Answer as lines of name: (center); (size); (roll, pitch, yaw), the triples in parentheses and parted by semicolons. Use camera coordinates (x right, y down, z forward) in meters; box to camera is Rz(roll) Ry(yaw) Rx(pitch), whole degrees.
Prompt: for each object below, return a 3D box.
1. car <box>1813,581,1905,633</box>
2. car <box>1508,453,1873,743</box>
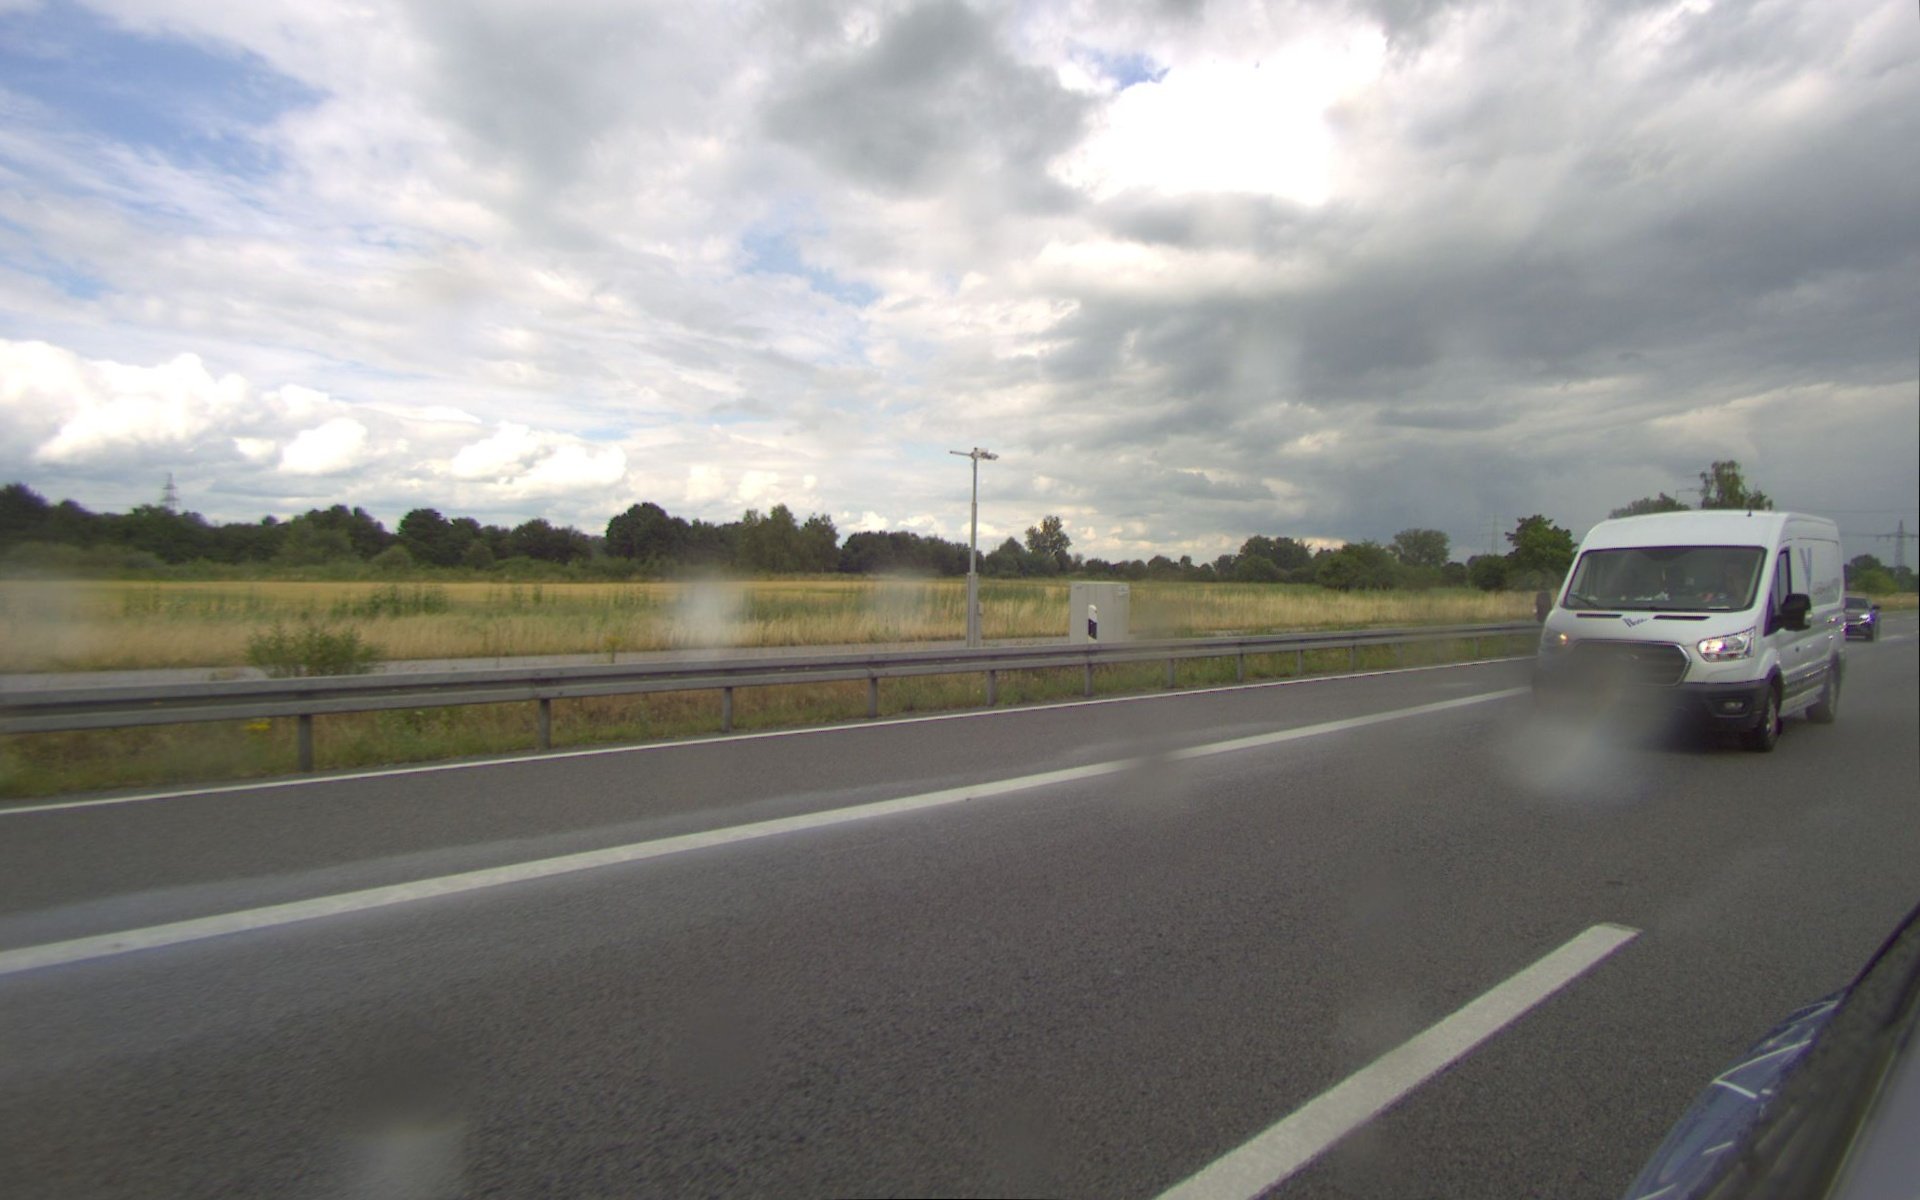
car: (30.745, 0.199, 34.557); (4.553, 1.662, 1.995); (0, 1, -44)
car: (8.401, -0.057, 11.406); (5.352, 2.532, 2.144); (-1, 1, -41)
